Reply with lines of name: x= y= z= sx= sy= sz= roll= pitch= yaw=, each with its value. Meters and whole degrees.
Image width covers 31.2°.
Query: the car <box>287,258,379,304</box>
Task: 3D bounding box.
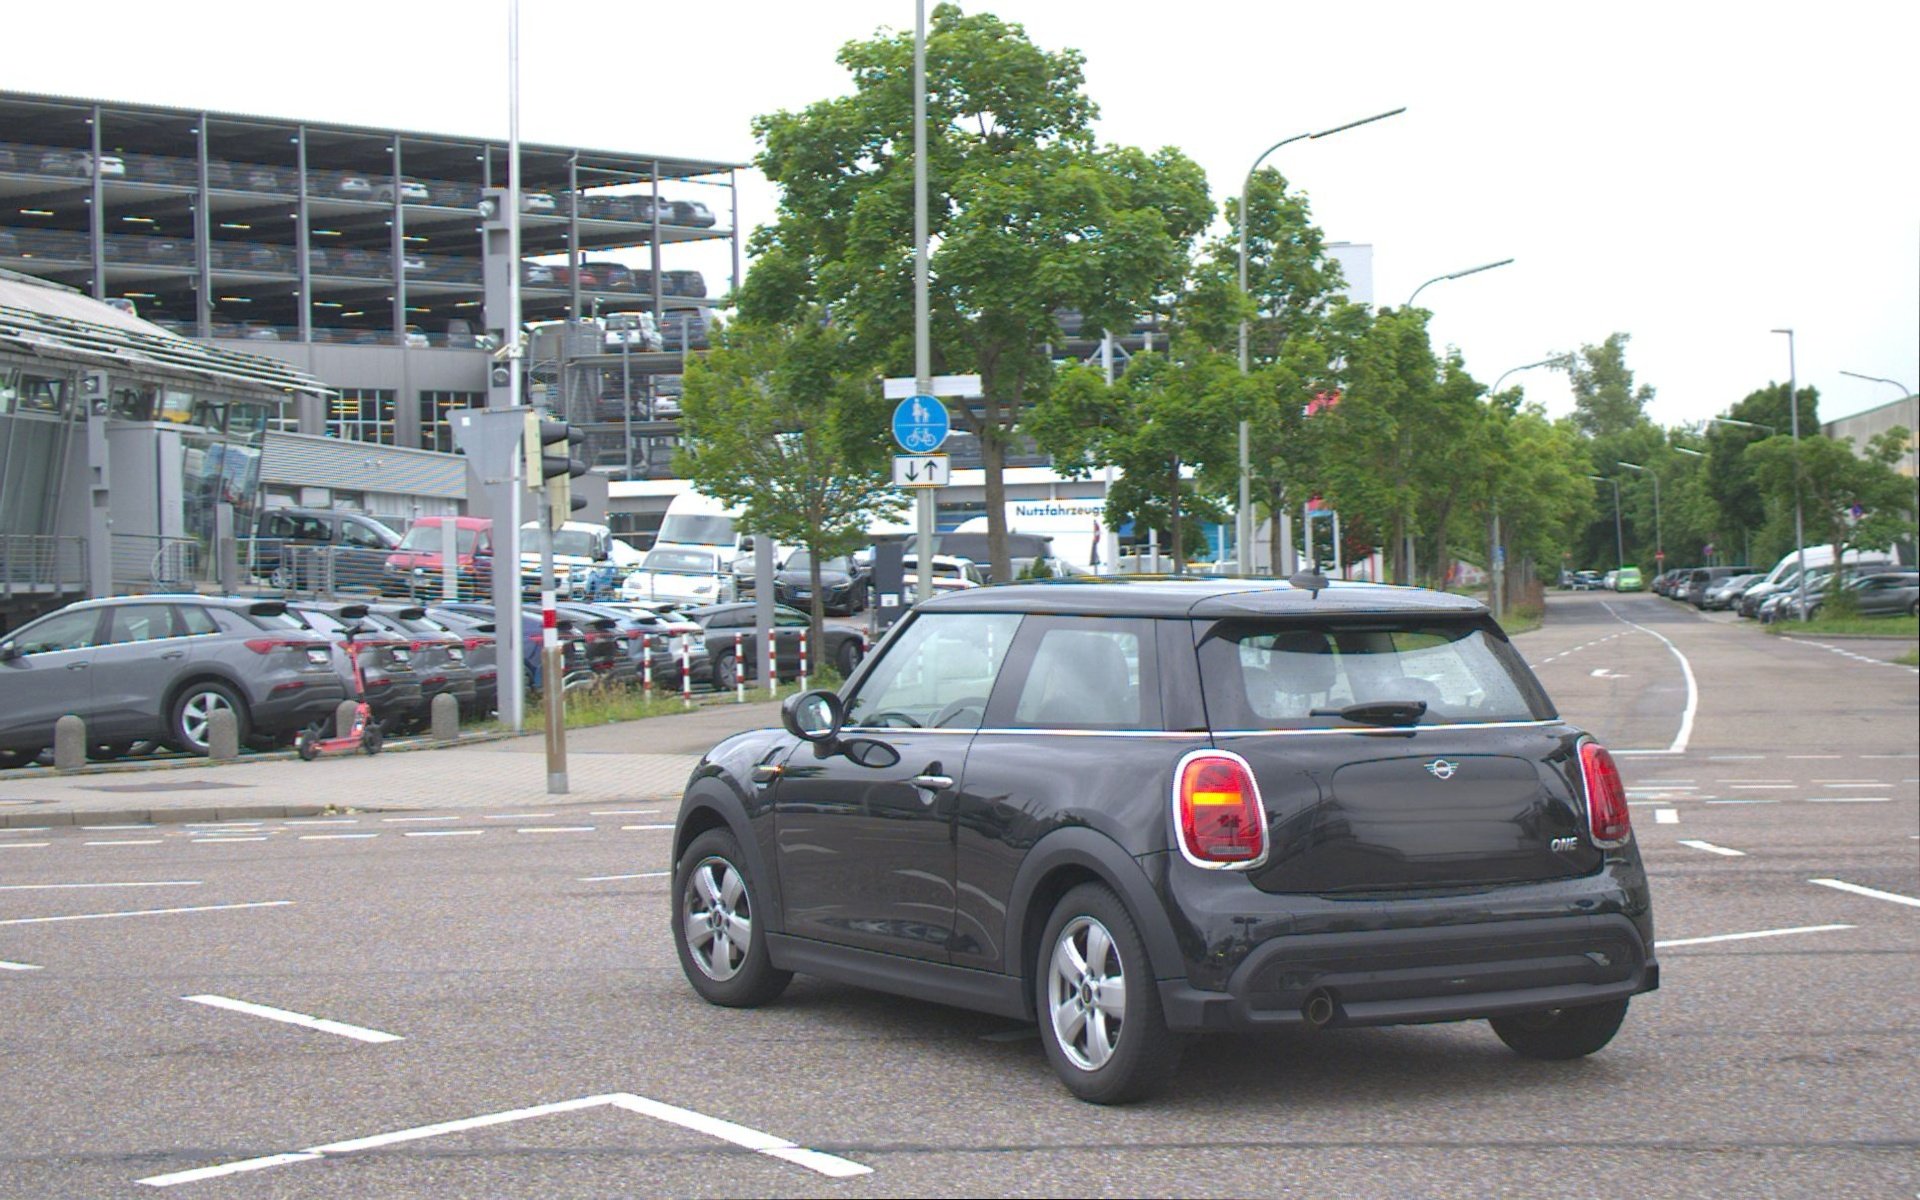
car: x=-27.720 y=-14.094 z=152.034 sx=3.997 sy=1.662 sz=1.995 roll=0 pitch=0 yaw=43

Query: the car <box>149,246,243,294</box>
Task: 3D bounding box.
car: x=-32.624 y=-14.070 z=146.711 sx=3.997 sy=1.662 sz=1.995 roll=0 pitch=0 yaw=43

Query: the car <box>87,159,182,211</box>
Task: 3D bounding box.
car: x=-34.731 y=-17.419 z=144.576 sx=3.997 sy=1.662 sz=1.995 roll=0 pitch=0 yaw=43

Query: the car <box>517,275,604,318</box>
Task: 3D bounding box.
car: x=-18.875 y=-14.326 z=162.330 sx=3.997 sy=1.662 sz=1.995 roll=0 pitch=0 yaw=43

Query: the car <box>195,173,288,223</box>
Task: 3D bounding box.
car: x=-31.073 y=-17.349 z=148.596 sx=3.997 sy=1.662 sz=1.995 roll=0 pitch=0 yaw=43

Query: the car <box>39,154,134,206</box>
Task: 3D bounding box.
car: x=-36.336 y=-17.456 z=142.990 sx=3.997 sy=1.662 sz=1.995 roll=0 pitch=0 yaw=43

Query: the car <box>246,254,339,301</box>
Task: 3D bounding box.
car: x=-29.219 y=-14.105 z=150.442 sx=3.997 sy=1.662 sz=1.995 roll=0 pitch=0 yaw=43

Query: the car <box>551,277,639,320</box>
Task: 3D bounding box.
car: x=-17.425 y=-14.369 z=164.038 sx=3.997 sy=1.662 sz=1.995 roll=0 pitch=0 yaw=43

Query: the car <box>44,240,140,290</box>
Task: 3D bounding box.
car: x=-36.109 y=-13.904 z=143.004 sx=3.997 sy=1.662 sz=1.995 roll=0 pitch=0 yaw=43

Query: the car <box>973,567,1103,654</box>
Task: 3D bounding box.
car: x=1.535 y=0.234 z=66.375 sx=1.994 sy=1.612 sz=3.998 roll=0 pitch=-1 yaw=9

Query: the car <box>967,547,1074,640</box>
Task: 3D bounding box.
car: x=1.388 y=-0.131 z=77.348 sx=1.994 sy=2.007 sz=3.999 roll=0 pitch=-1 yaw=7

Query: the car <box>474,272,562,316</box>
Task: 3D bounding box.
car: x=-20.594 y=-14.237 z=160.096 sx=3.997 sy=1.662 sz=1.995 roll=0 pitch=0 yaw=43

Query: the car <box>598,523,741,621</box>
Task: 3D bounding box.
car: x=-5.613 y=-0.518 z=66.891 sx=1.994 sy=1.817 sz=3.999 roll=0 pitch=-1 yaw=7

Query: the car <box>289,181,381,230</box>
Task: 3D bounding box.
car: x=-27.676 y=-17.443 z=152.130 sx=3.997 sy=1.662 sz=1.995 roll=0 pitch=0 yaw=43

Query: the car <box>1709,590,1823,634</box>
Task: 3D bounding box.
car: x=35.751 y=0.551 z=152.600 sx=4.787 sy=1.885 sz=2.143 roll=0 pitch=-1 yaw=9

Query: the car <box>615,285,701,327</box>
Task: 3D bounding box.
car: x=-14.686 y=-14.257 z=166.912 sx=3.997 sy=1.662 sz=1.995 roll=0 pitch=0 yaw=43

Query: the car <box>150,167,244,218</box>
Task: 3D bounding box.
car: x=-32.585 y=-17.389 z=146.844 sx=3.997 sy=1.662 sz=1.995 roll=0 pitch=0 yaw=43

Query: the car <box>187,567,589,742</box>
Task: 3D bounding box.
car: x=-7.452 y=0.721 z=45.045 sx=4.773 sy=2.007 sz=1.999 roll=-3 pitch=-1 yaw=5

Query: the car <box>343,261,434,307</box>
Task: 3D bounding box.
car: x=-25.653 y=-14.176 z=154.245 sx=3.997 sy=1.662 sz=1.995 roll=0 pitch=0 yaw=43

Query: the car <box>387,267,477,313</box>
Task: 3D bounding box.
car: x=-24.022 y=-14.080 z=156.318 sx=3.997 sy=1.662 sz=1.995 roll=0 pitch=0 yaw=43

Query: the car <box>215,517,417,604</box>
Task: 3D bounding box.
car: x=-14.116 y=-0.862 z=75.454 sx=3.988 sy=1.832 sz=1.759 roll=0 pitch=-1 yaw=8

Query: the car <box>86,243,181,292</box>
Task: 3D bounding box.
car: x=-34.843 y=-13.999 z=144.876 sx=3.997 sy=1.662 sz=1.995 roll=0 pitch=0 yaw=43

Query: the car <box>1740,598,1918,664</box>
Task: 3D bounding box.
car: x=26.958 y=0.974 z=106.836 sx=5.175 sy=2.007 sz=2.143 roll=0 pitch=-1 yaw=9

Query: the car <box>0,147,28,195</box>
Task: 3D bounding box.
car: x=-39.696 y=-17.291 z=139.122 sx=3.997 sy=1.662 sz=1.995 roll=0 pitch=0 yaw=43

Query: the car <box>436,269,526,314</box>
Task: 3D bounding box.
car: x=-22.076 y=-14.193 z=158.389 sx=3.997 sy=1.662 sz=1.995 roll=0 pitch=0 yaw=43

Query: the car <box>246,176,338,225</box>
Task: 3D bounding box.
car: x=-29.279 y=-17.488 z=150.589 sx=3.997 sy=1.662 sz=1.995 roll=0 pitch=0 yaw=43

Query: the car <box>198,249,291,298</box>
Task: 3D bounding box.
car: x=-30.911 y=-14.093 z=148.539 sx=3.997 sy=1.662 sz=1.995 roll=0 pitch=0 yaw=43

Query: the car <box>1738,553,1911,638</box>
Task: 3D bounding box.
car: x=32.352 y=-0.151 z=128.827 sx=6.119 sy=3.106 sz=2.133 roll=0 pitch=-1 yaw=10

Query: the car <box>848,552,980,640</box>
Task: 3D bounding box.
car: x=-0.849 y=-0.062 z=66.255 sx=1.994 sy=1.612 sz=3.999 roll=0 pitch=-1 yaw=7

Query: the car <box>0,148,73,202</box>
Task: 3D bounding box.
car: x=-38.359 y=-17.402 z=140.948 sx=3.997 sy=1.662 sz=1.995 roll=0 pitch=0 yaw=43

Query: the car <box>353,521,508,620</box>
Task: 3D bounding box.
car: x=-10.423 y=-0.562 z=67.954 sx=1.994 sy=1.842 sz=3.999 roll=0 pitch=-1 yaw=7
